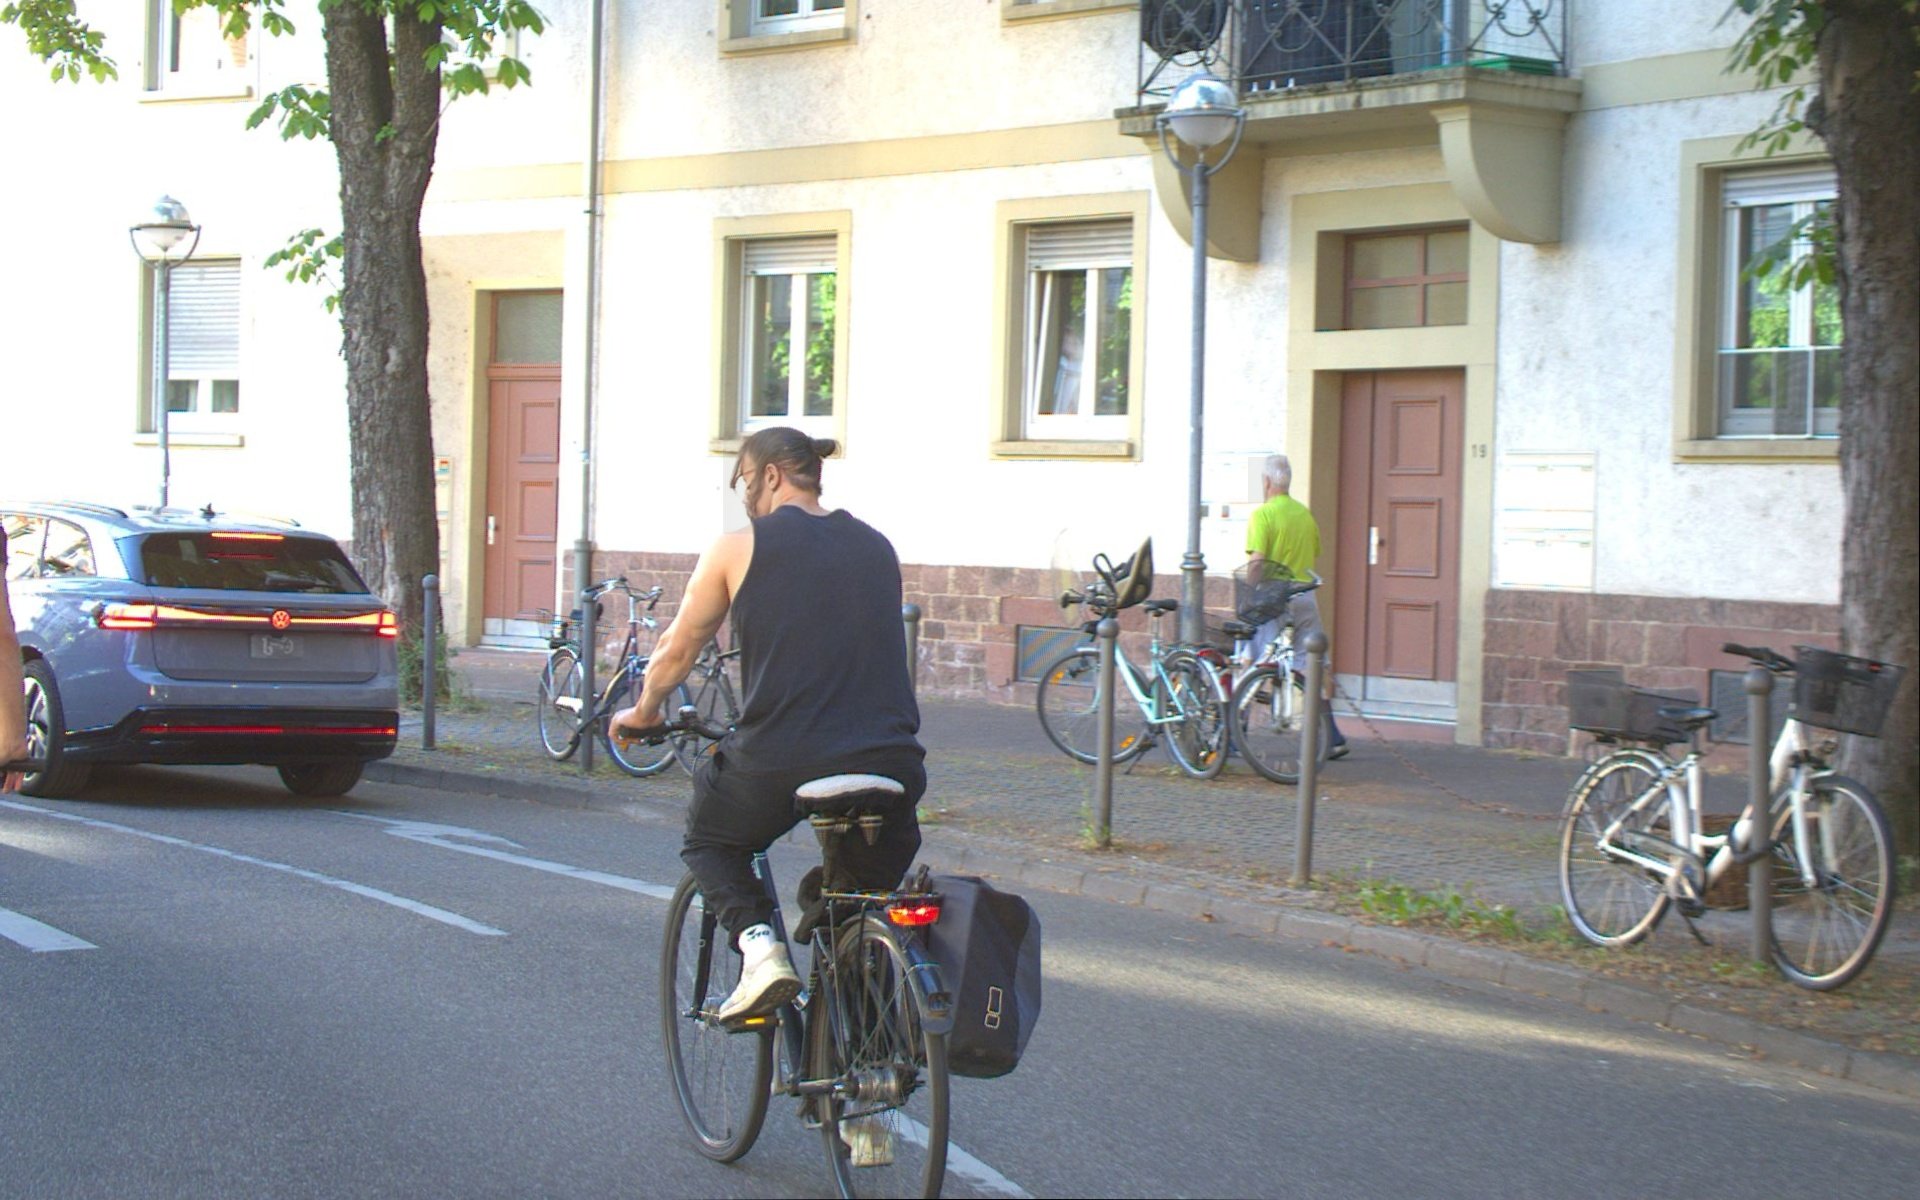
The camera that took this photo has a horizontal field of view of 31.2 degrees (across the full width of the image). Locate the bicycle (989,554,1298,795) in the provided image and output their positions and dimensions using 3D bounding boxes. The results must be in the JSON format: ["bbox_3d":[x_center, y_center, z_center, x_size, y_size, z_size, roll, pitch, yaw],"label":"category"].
[{"bbox_3d":[0.960,0.370,18.604,0.494,1.168,2.117,-4,4,-33],"label":"bicycle"}]

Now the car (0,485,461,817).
[{"bbox_3d":[-4.571,0.186,18.683,1.892,1.572,3.999,1,2,-38],"label":"car"}]

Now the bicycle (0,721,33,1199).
[{"bbox_3d":[-2.198,0.811,6.788,0.674,1.050,2.062,1,1,-16],"label":"bicycle"}]

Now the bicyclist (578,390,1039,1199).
[{"bbox_3d":[-0.357,0.400,7.572,0.752,1.676,0.913,1,2,-18],"label":"bicyclist"}]

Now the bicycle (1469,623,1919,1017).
[{"bbox_3d":[2.558,0.690,11.669,0.616,1.109,1.993,-3,3,-25],"label":"bicycle"}]

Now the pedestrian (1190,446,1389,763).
[{"bbox_3d":[1.920,0.003,20.000,0.659,1.788,0.995,2,3,43],"label":"pedestrian"}]

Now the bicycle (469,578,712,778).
[{"bbox_3d":[-2.103,0.408,19.299,0.520,0.995,2.192,1,2,-29],"label":"bicycle"}]

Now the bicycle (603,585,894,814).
[{"bbox_3d":[-1.137,0.491,18.024,0.616,1.054,1.928,-1,3,-34],"label":"bicycle"}]

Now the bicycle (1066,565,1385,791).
[{"bbox_3d":[1.430,0.397,18.973,0.582,1.110,2.117,0,2,-32],"label":"bicycle"}]

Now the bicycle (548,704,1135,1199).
[{"bbox_3d":[-0.338,0.808,7.612,0.737,1.008,2.062,0,2,-18],"label":"bicycle"}]

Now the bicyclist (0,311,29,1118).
[{"bbox_3d":[-2.216,0.202,6.860,0.671,1.509,1.069,1,1,-16],"label":"bicyclist"}]
